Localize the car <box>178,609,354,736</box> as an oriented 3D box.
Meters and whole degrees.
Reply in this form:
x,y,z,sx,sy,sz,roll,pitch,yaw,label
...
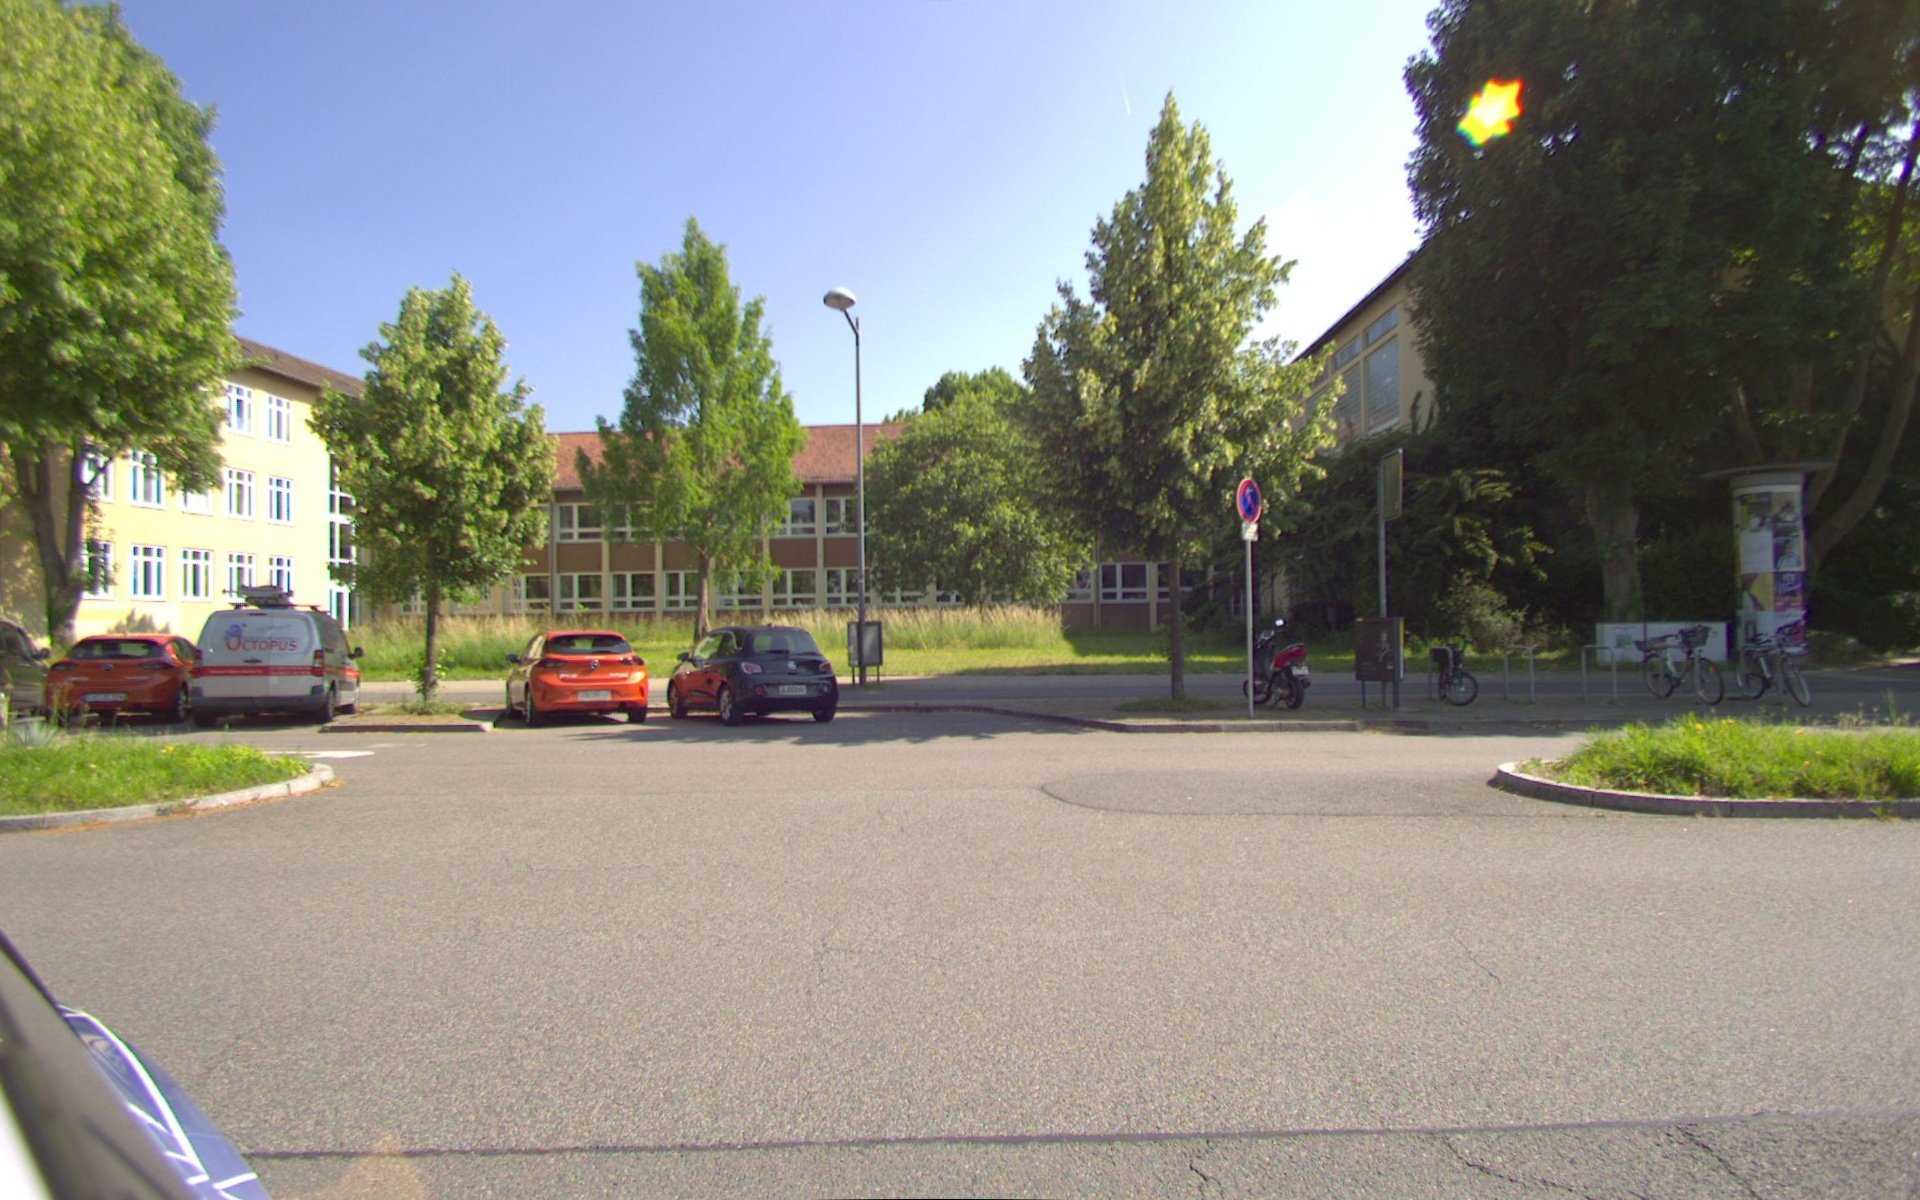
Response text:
x,y,z,sx,sy,sz,roll,pitch,yaw,label
-11.063,1.069,16.401,1.788,1.785,3.787,0,-2,-26,car

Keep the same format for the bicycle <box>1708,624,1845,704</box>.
x,y,z,sx,sy,sz,roll,pitch,yaw,label
12.288,0.933,15.317,0.684,1.131,1.848,-1,-1,6,bicycle

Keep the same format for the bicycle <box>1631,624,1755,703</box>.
x,y,z,sx,sy,sz,roll,pitch,yaw,label
11.225,0.942,15.577,0.684,1.115,1.848,-1,-1,6,bicycle

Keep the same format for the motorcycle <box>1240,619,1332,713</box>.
x,y,z,sx,sy,sz,roll,pitch,yaw,label
4.790,0.937,14.982,0.683,1.294,1.852,-1,-1,-2,motorcycle

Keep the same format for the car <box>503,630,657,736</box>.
x,y,z,sx,sy,sz,roll,pitch,yaw,label
-6.131,1.205,16.075,1.686,1.434,3.854,0,-2,-30,car

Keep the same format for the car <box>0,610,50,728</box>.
x,y,z,sx,sy,sz,roll,pitch,yaw,label
-16.432,1.133,16.273,1.970,1.830,4.200,0,-2,-32,car

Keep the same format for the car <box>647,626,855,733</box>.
x,y,z,sx,sy,sz,roll,pitch,yaw,label
-3.356,1.167,15.729,1.825,1.434,3.784,2,-3,-35,car

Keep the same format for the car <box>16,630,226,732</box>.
x,y,z,sx,sy,sz,roll,pitch,yaw,label
-13.724,1.272,16.821,1.824,1.438,3.786,-1,-2,-26,car

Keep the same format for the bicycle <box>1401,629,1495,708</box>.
x,y,z,sx,sy,sz,roll,pitch,yaw,label
7.425,1.014,15.497,0.684,1.100,1.848,-1,-1,6,bicycle
